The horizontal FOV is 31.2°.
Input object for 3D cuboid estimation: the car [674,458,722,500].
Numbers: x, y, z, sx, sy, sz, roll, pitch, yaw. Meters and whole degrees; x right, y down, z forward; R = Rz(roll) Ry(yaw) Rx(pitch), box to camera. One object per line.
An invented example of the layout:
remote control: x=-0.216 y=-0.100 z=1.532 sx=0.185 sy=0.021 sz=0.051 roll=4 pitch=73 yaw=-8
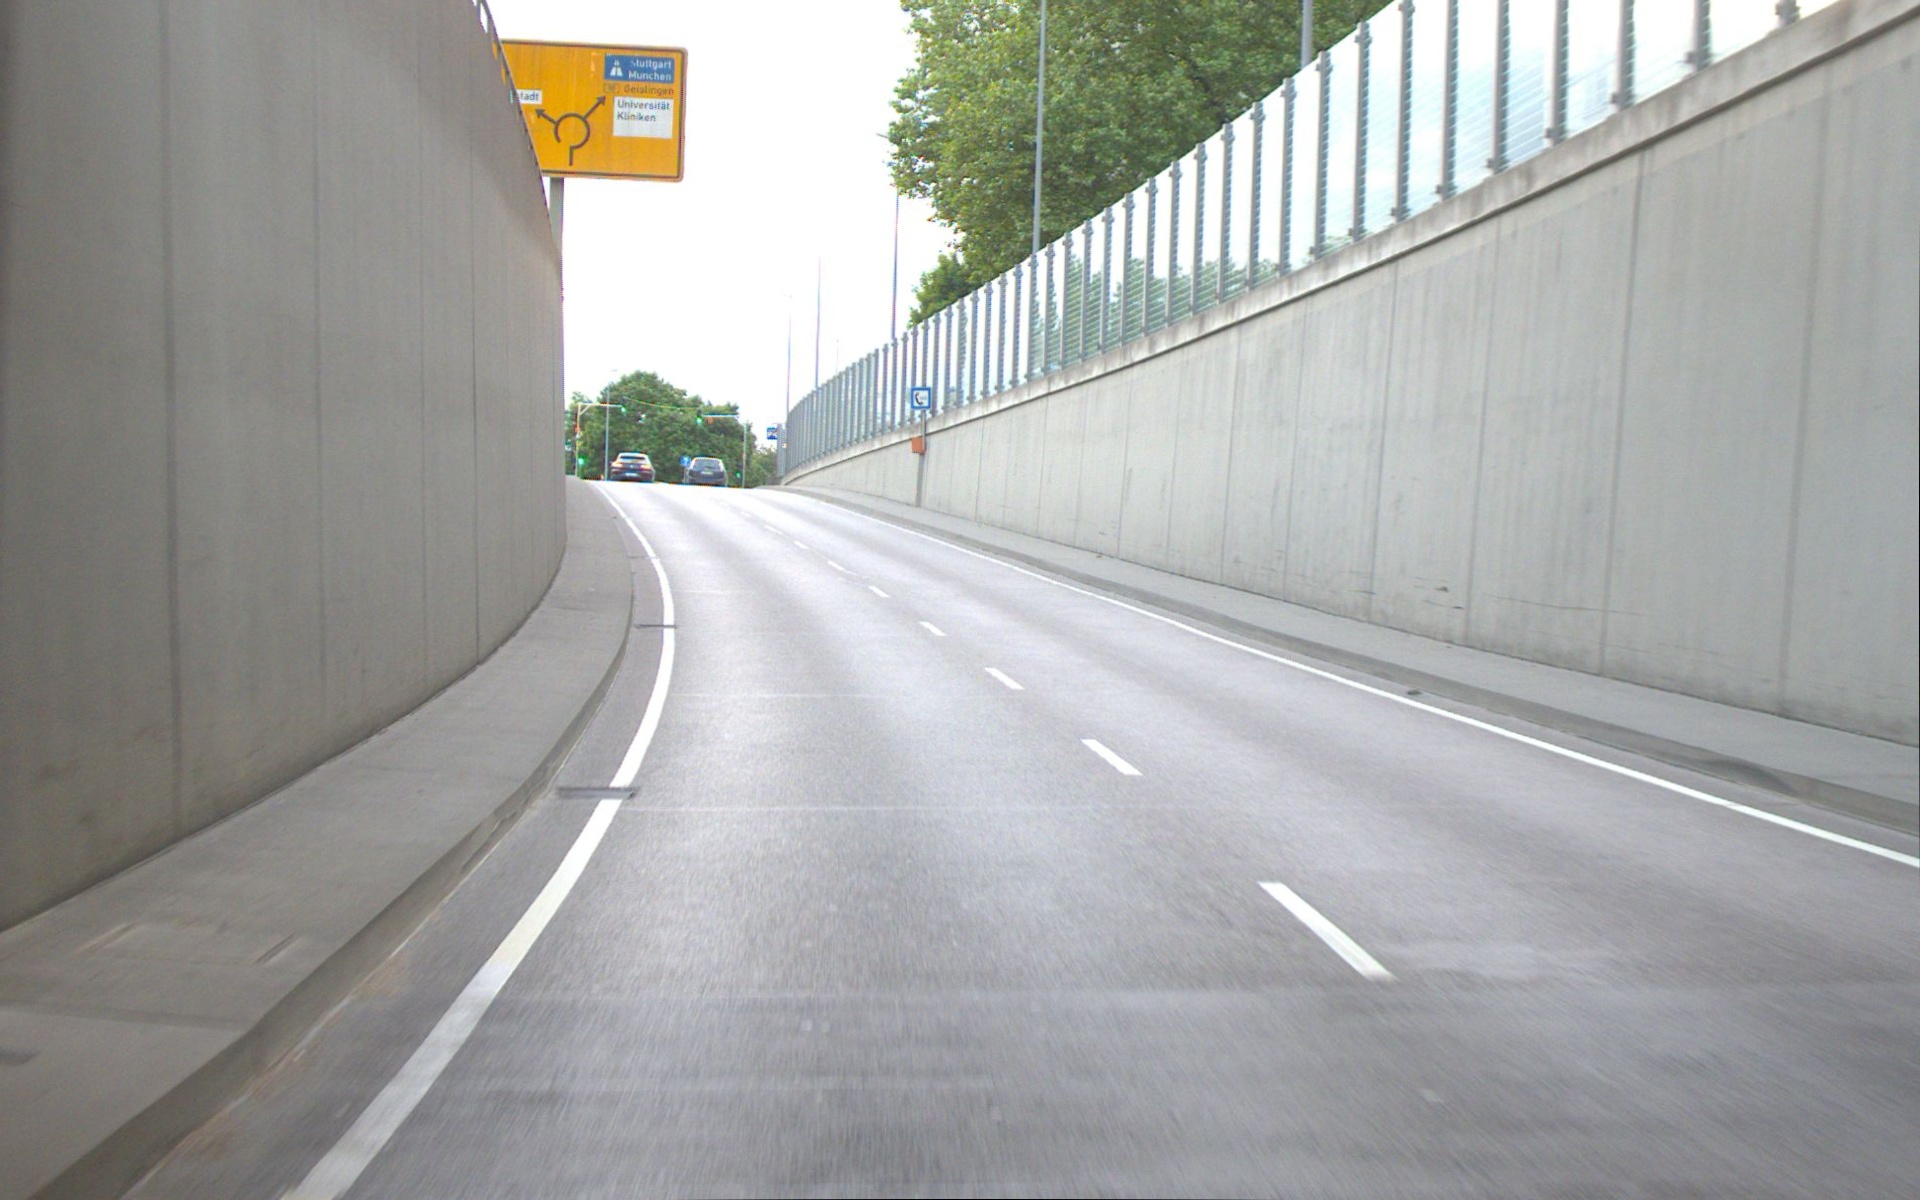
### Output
car: x=-11.677 y=-5.375 z=153.105 sx=1.869 sy=1.726 sz=4.001 roll=1 pitch=0 yaw=-7

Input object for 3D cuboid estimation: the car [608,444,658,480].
car: x=-14.254 y=-5.986 z=149.667 sx=1.841 sy=1.384 sz=4.001 roll=1 pitch=0 yaw=-9
